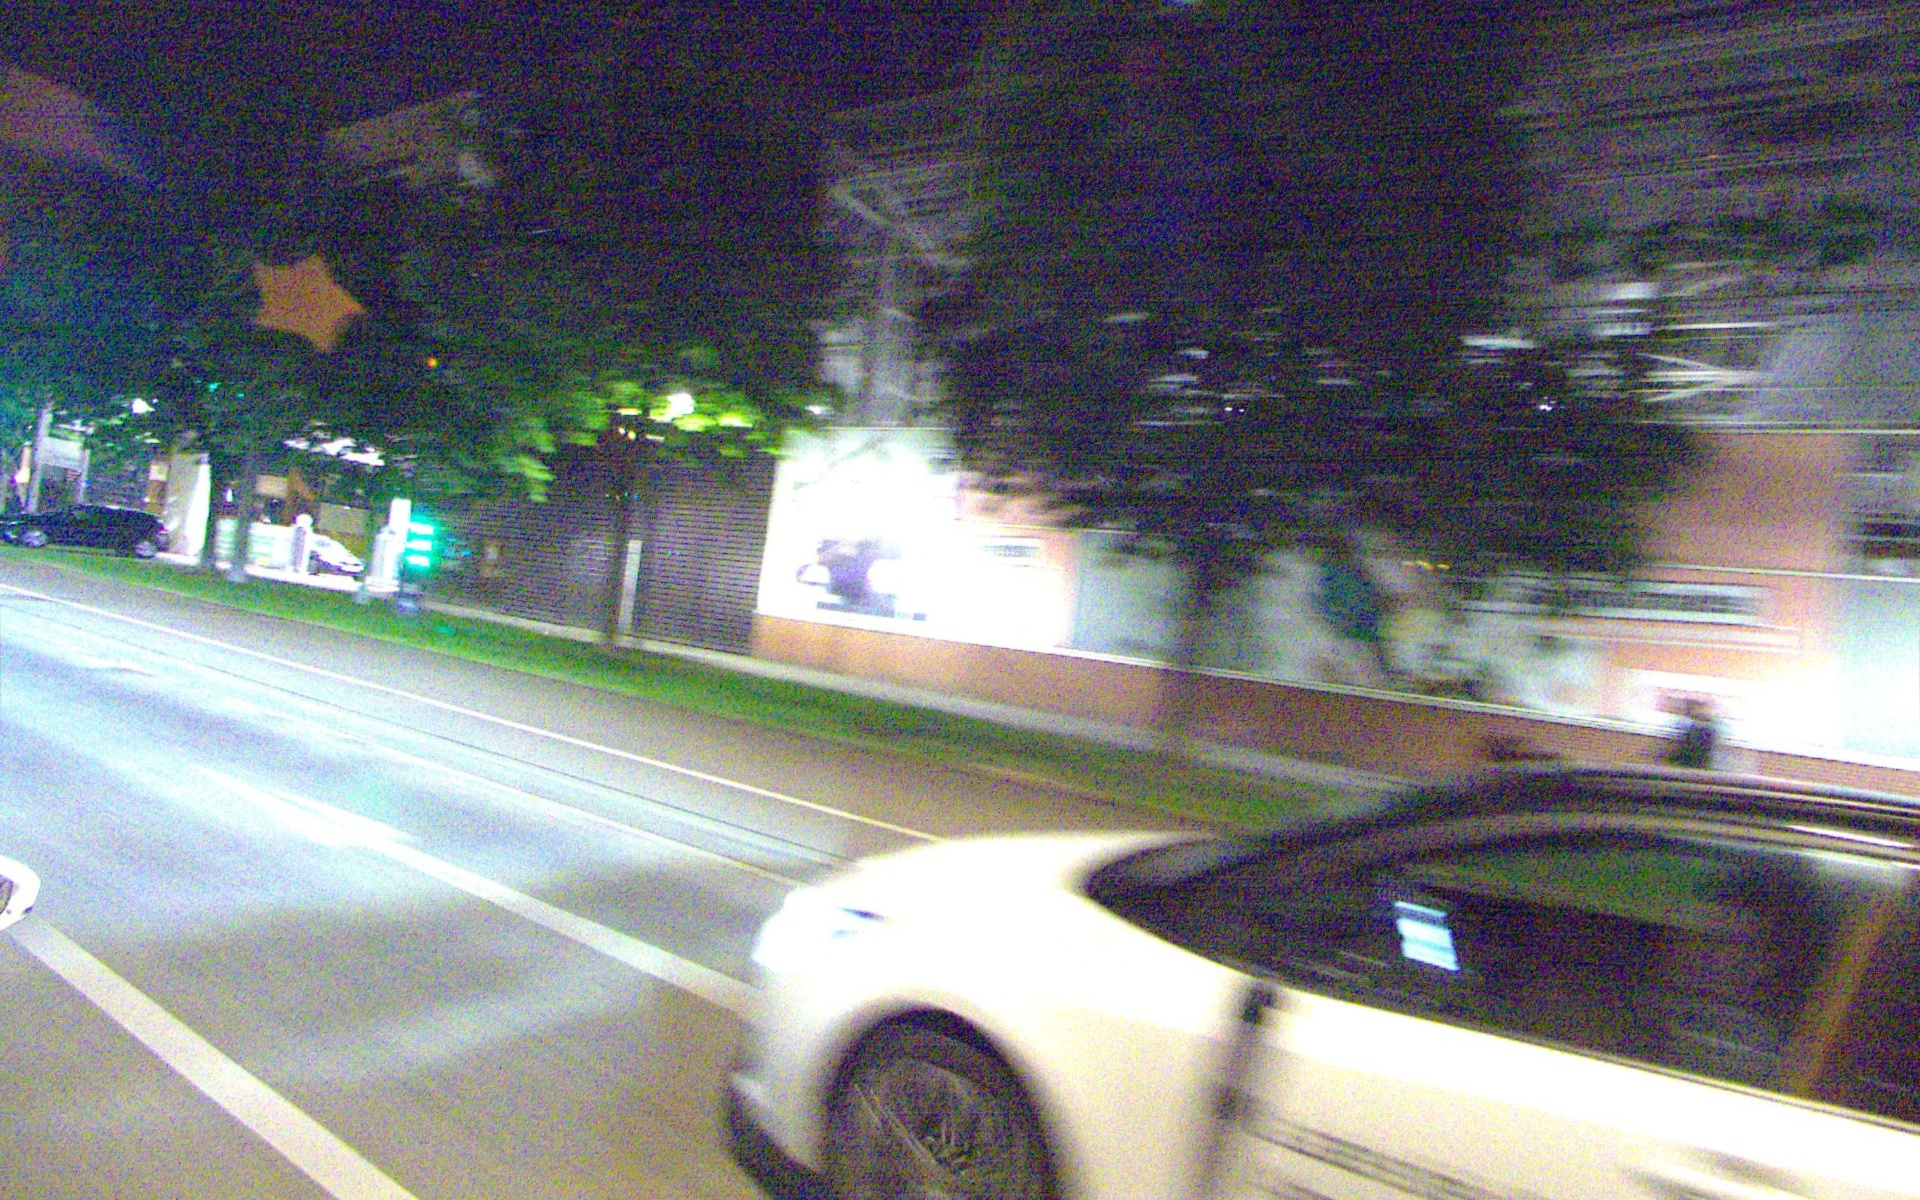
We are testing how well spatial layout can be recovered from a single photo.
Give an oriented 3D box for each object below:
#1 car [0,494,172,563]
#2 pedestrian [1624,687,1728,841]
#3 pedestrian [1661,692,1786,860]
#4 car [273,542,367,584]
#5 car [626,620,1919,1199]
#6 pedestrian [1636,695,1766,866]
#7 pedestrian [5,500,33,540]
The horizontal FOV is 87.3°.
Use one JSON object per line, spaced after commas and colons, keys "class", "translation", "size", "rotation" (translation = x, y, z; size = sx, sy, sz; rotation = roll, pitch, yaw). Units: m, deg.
{"class": "car", "translation": [-26.256, -2.105, 29.833], "size": [1.757, 1.472, 4.088], "rotation": [6, -1, 31]}
{"class": "pedestrian", "translation": [9.428, 2.133, 13.286], "size": [0.891, 1.839, 0.675], "rotation": [7, 0, 32]}
{"class": "pedestrian", "translation": [9.162, 2.075, 12.119], "size": [0.954, 1.810, 0.720], "rotation": [7, 0, 32]}
{"class": "car", "translation": [-23.766, -1.383, 37.352], "size": [3.481, 1.182, 1.460], "rotation": [6, -2, 31]}
{"class": "car", "translation": [1.513, 1.071, 2.234], "size": [4.424, 1.446, 1.728], "rotation": [6, -2, 32]}
{"class": "pedestrian", "translation": [8.444, 2.018, 11.513], "size": [0.969, 1.738, 0.736], "rotation": [7, 0, 32]}
{"class": "pedestrian", "translation": [-38.889, -3.315, 41.561], "size": [0.623, 1.552, 0.573], "rotation": [7, 0, 32]}
